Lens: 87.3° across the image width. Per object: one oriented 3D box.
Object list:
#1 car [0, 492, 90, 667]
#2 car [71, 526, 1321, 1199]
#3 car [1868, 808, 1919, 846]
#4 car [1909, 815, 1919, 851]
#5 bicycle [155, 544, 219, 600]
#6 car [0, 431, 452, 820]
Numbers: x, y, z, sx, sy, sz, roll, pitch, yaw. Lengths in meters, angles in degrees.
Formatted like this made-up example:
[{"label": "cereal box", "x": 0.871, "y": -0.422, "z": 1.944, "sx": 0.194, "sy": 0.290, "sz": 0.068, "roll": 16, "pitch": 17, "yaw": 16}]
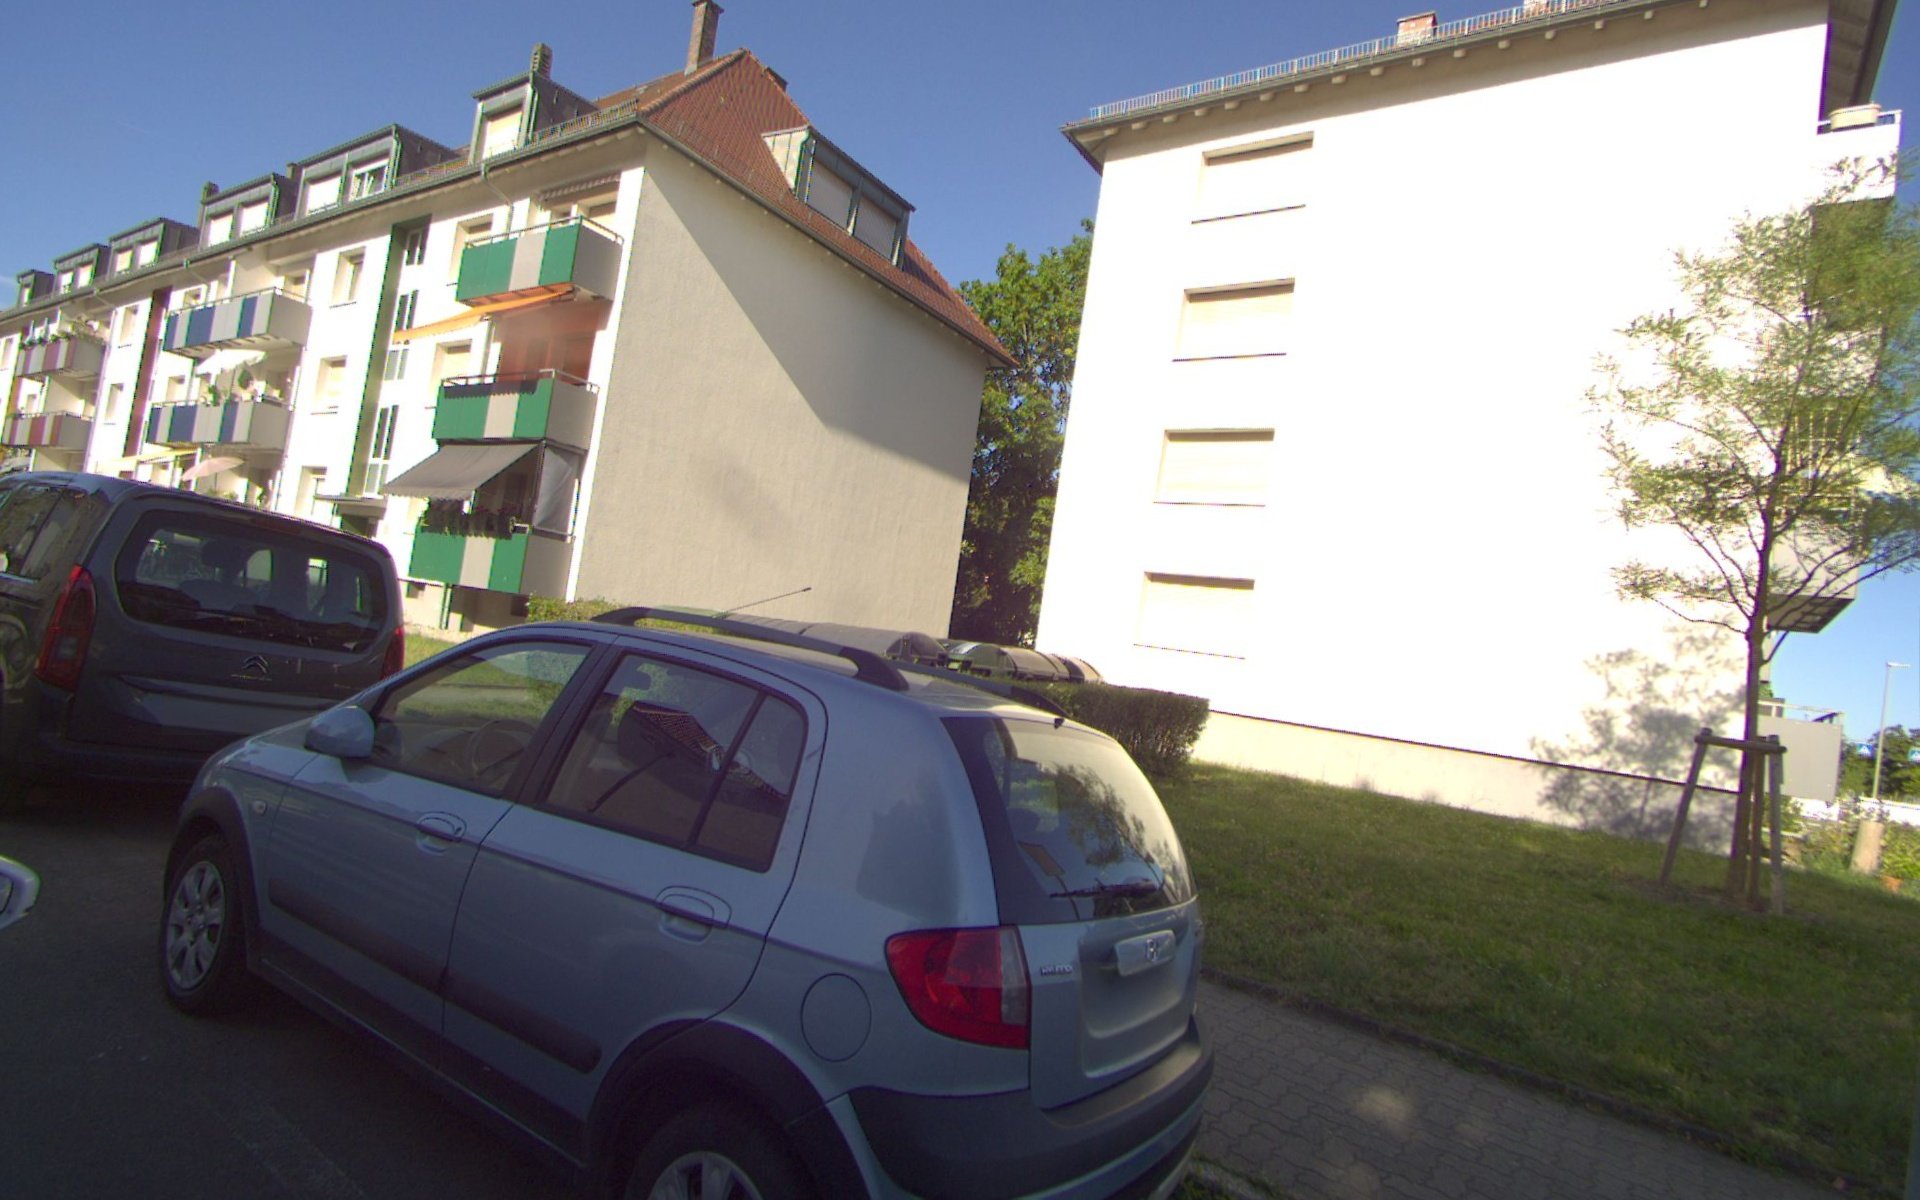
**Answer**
[{"label": "car", "x": -11.053, "y": -0.450, "z": 10.402, "sx": 4.059, "sy": 1.608, "sz": 1.987, "roll": 6, "pitch": -4, "yaw": 35}, {"label": "car", "x": -1.062, "y": 0.736, "z": 3.297, "sx": 3.836, "sy": 1.444, "sz": 1.658, "roll": 6, "pitch": -4, "yaw": 33}, {"label": "car", "x": 48.789, "y": 11.787, "z": 52.314, "sx": 1.749, "sy": 1.545, "sz": 4.550, "roll": 6, "pitch": -5, "yaw": 37}, {"label": "car", "x": 42.728, "y": 10.285, "z": 43.334, "sx": 1.820, "sy": 1.488, "sz": 5.059, "roll": 6, "pitch": -5, "yaw": 35}, {"label": "bicycle", "x": -17.394, "y": -0.643, "z": 22.629, "sx": 1.836, "sy": 1.065, "sz": 0.515, "roll": 6, "pitch": -4, "yaw": 36}, {"label": "car", "x": -5.394, "y": 0.065, "z": 6.472, "sx": 4.228, "sy": 1.749, "sz": 1.867, "roll": 6, "pitch": -4, "yaw": 36}]
